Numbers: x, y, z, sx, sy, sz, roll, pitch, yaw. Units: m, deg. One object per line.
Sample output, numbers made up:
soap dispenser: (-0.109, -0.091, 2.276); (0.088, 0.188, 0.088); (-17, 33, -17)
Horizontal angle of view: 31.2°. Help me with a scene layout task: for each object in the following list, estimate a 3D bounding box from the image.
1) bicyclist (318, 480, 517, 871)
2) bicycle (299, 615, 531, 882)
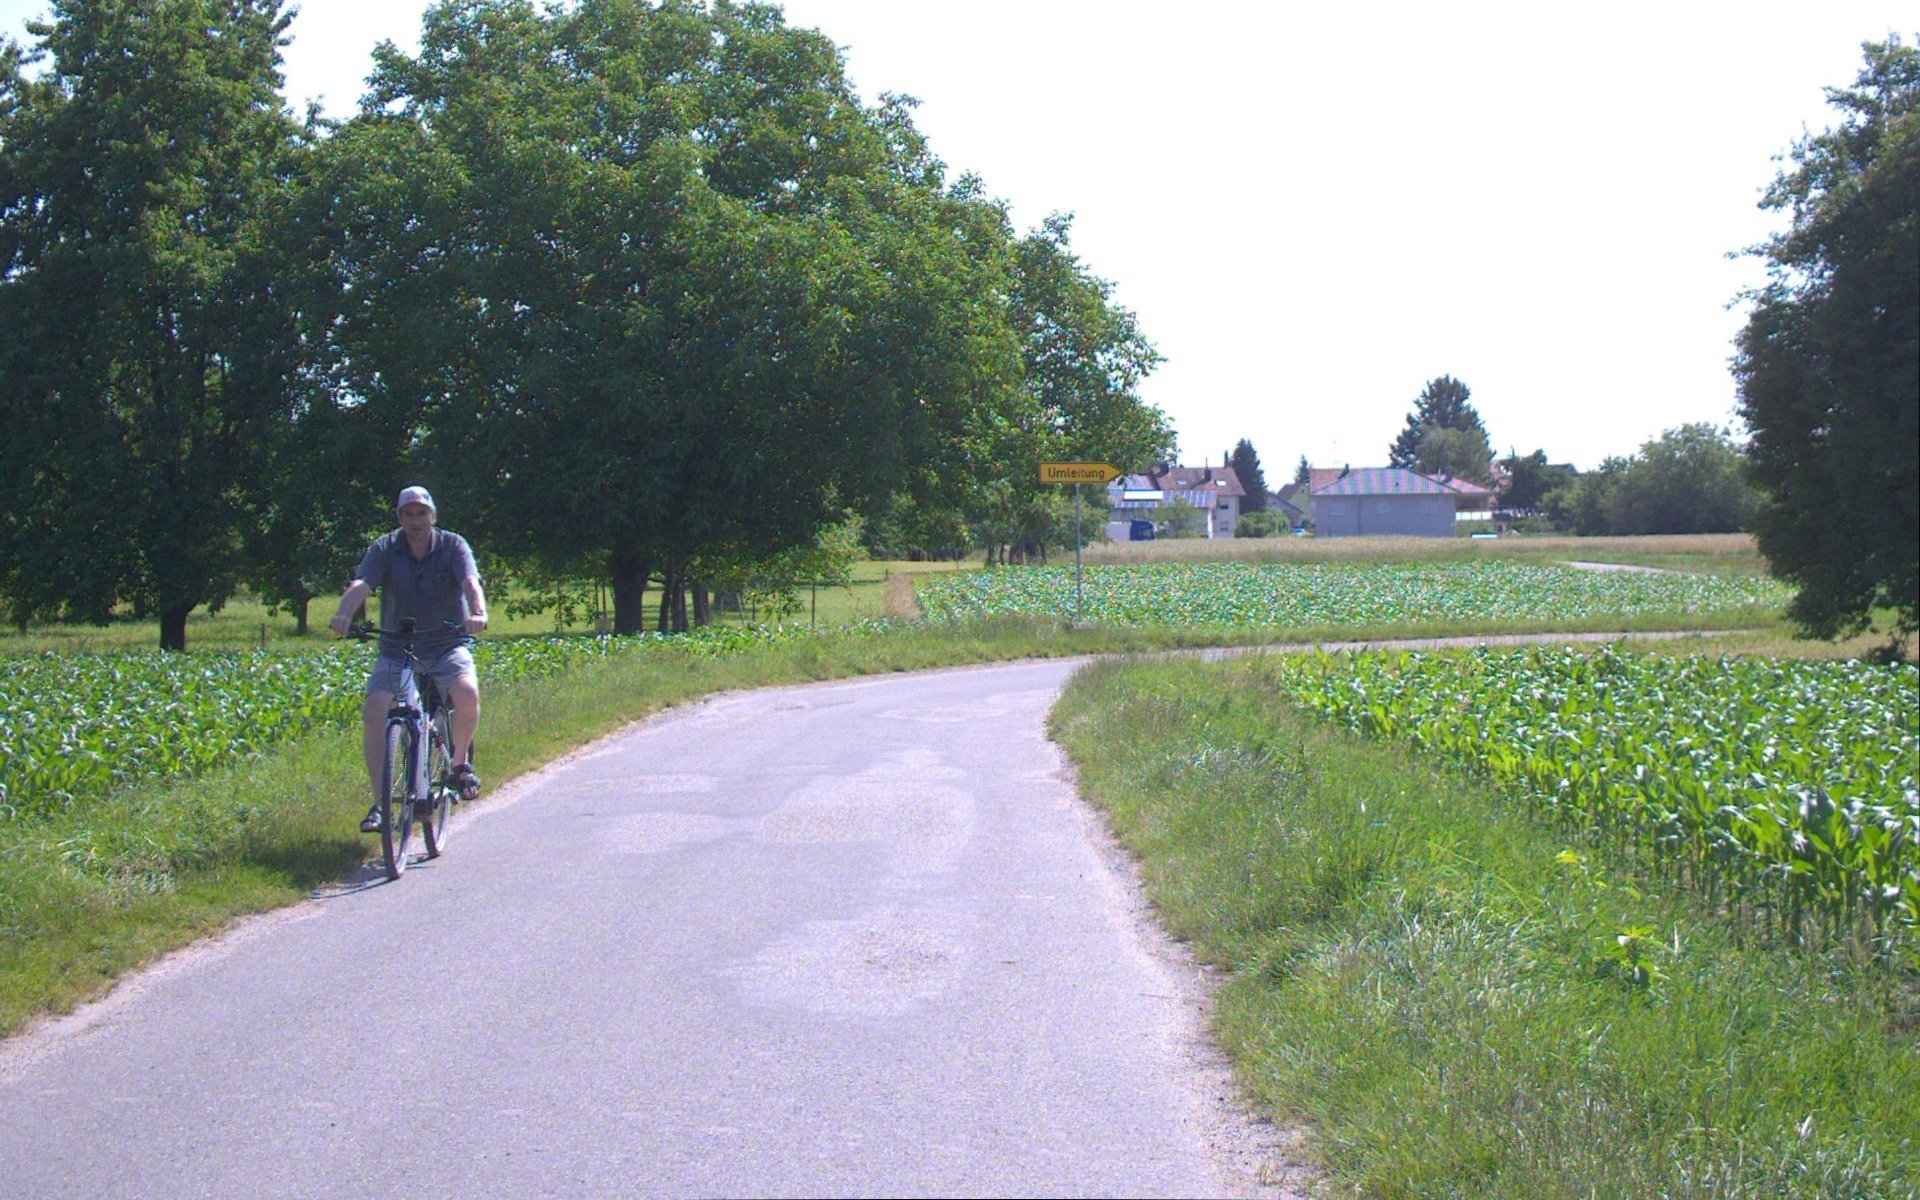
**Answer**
bicyclist: (-2.569, 0.345, 16.350); (0.750, 1.785, 0.717); (-2, 1, 0)
bicycle: (-2.560, 0.669, 16.356); (0.750, 1.123, 1.908); (-2, 1, 0)
